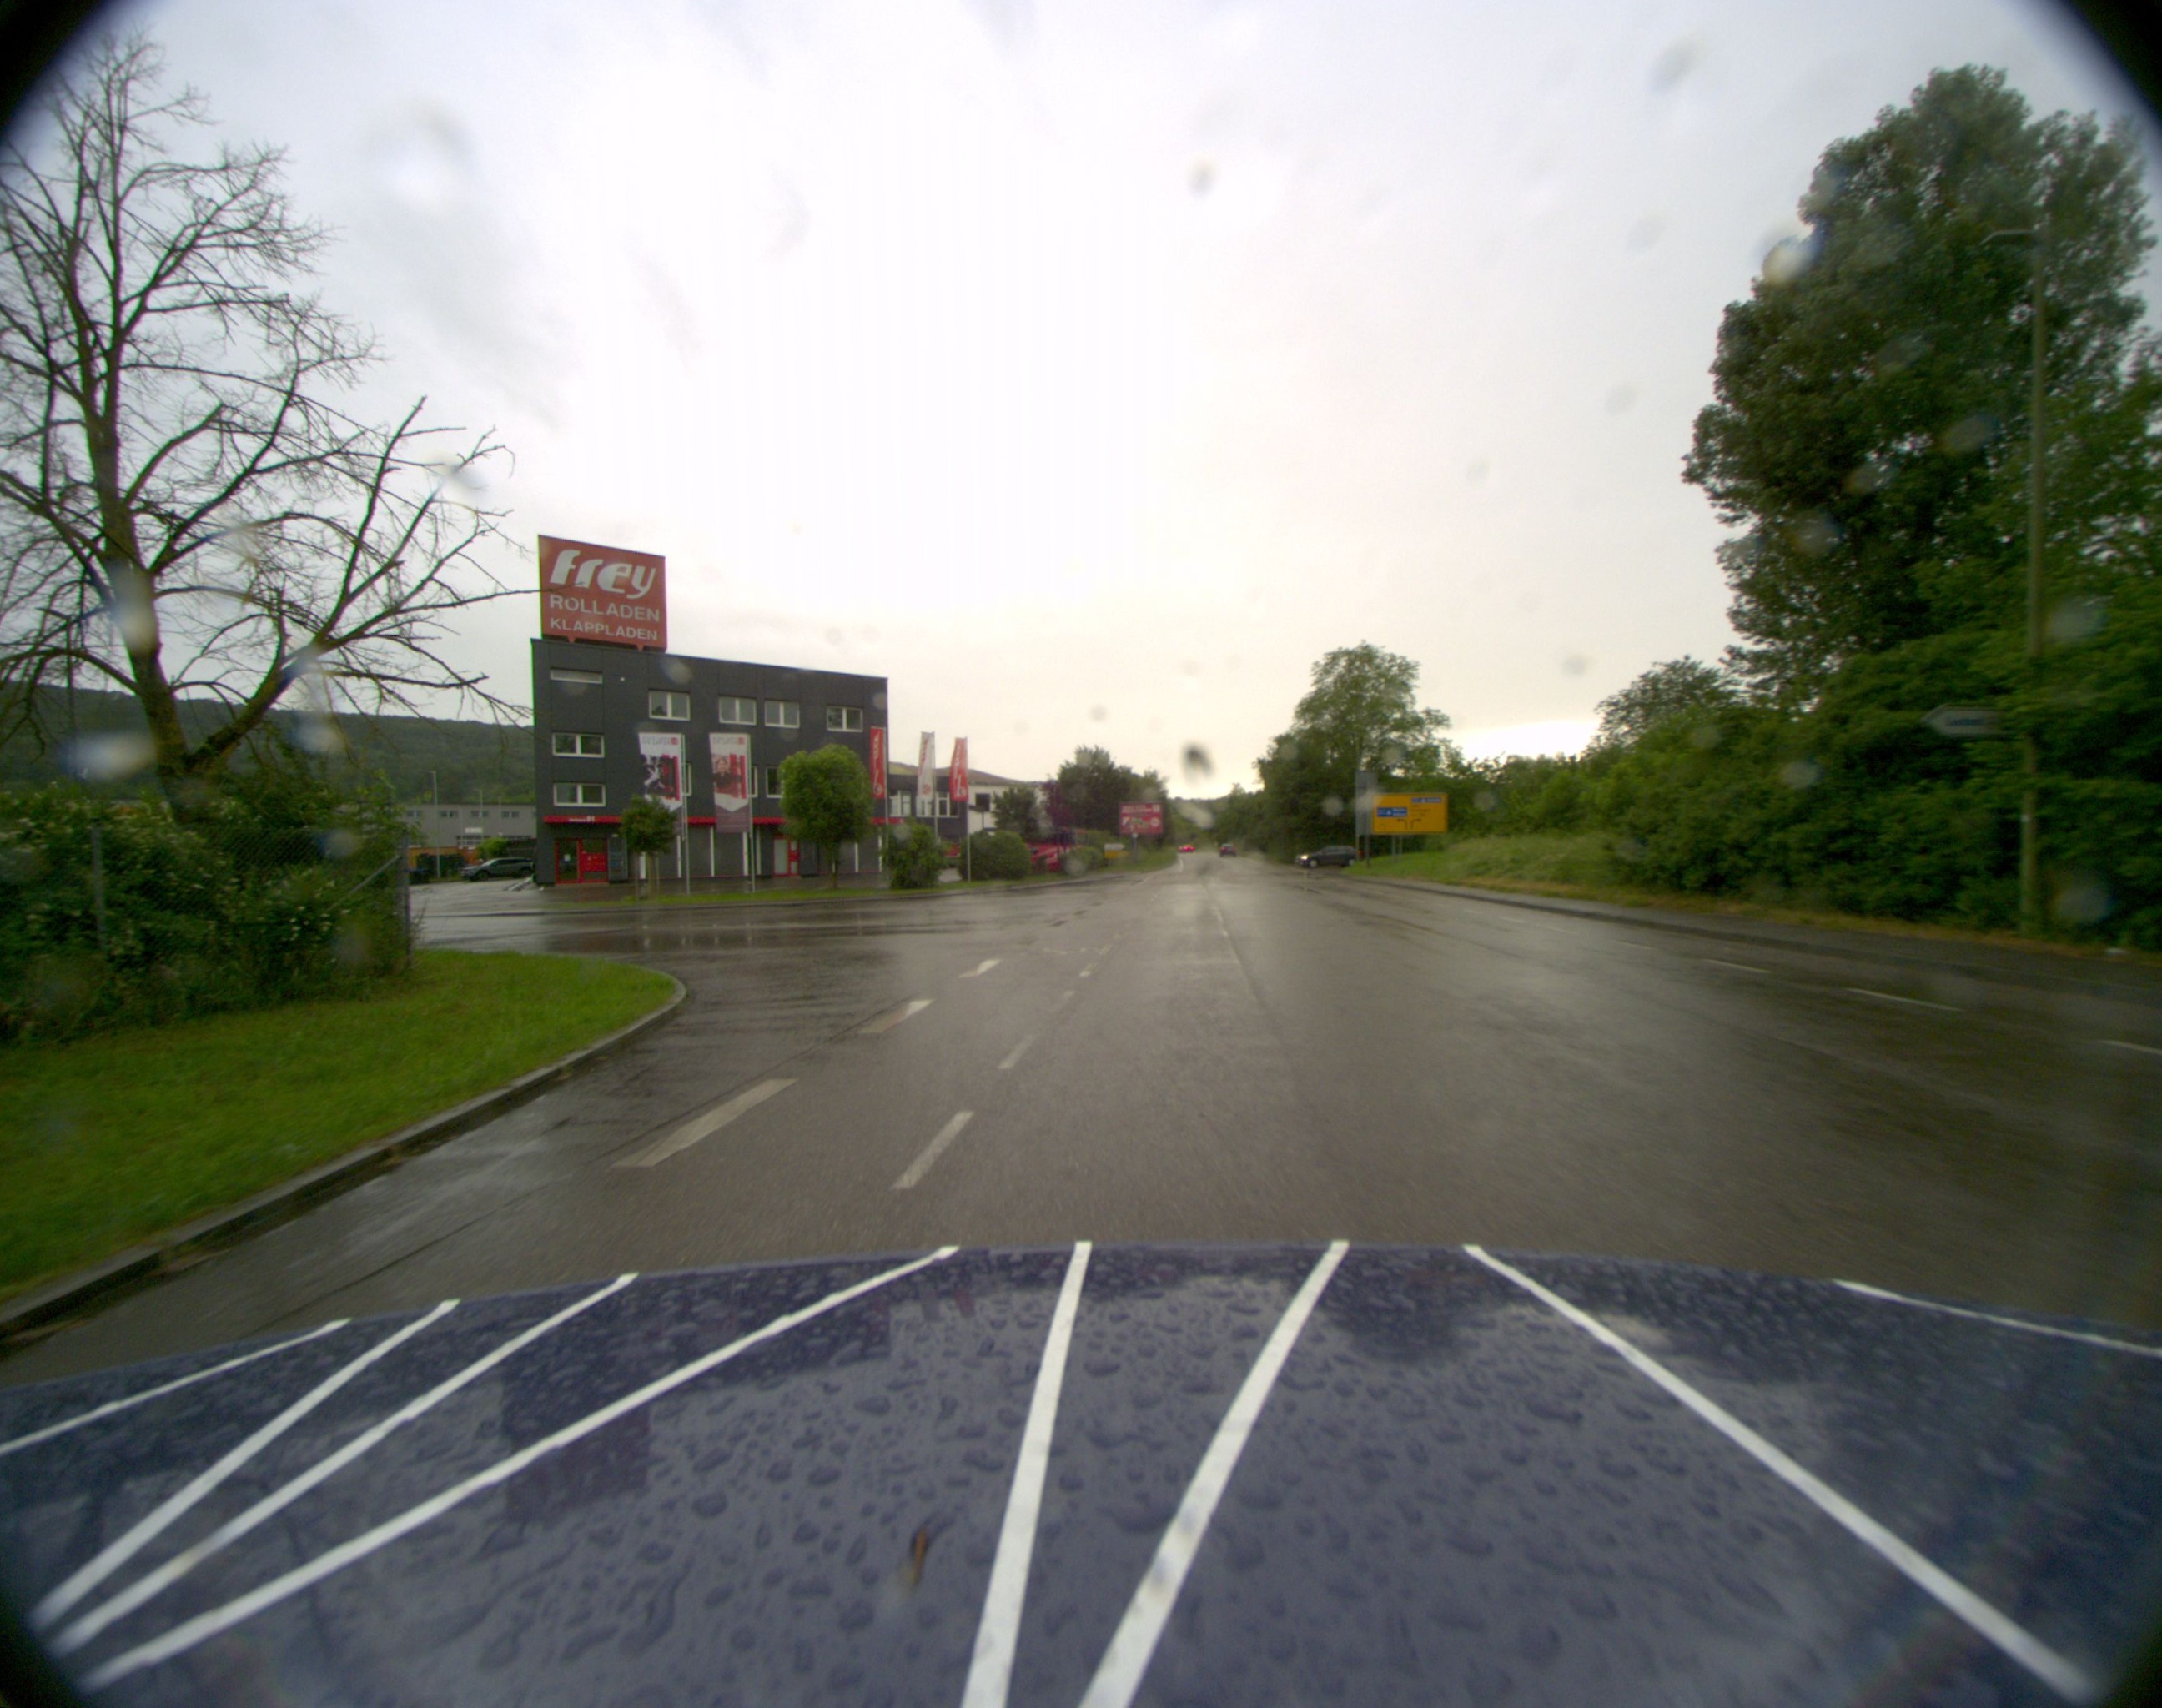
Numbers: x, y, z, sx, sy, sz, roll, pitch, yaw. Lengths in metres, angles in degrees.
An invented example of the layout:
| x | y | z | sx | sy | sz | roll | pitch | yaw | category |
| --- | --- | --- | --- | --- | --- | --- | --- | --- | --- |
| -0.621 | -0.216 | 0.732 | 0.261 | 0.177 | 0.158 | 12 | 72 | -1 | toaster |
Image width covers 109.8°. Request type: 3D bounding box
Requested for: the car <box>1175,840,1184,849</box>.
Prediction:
| x | y | z | sx | sy | sz | roll | pitch | yaw | category |
| --- | --- | --- | --- | --- | --- | --- | --- | --- | --- |
| 22.244 | -2.198 | 171.579 | 1.808 | 2.002 | 4.000 | -1 | 2 | 5 | car |

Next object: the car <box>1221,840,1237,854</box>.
| x | y | z | sx | sy | sz | roll | pitch | yaw | category |
| --- | --- | --- | --- | --- | --- | --- | --- | --- | --- |
| 17.207 | -0.795 | 88.444 | 1.832 | 1.515 | 4.003 | -1 | 1 | 10 | car |

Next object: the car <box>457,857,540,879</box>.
| x | y | z | sx | sy | sz | roll | pitch | yaw | category |
| --- | --- | --- | --- | --- | --- | --- | --- | --- | --- |
| -41.224 | 0.981 | 53.818 | 1.994 | 1.379 | 4.205 | -1 | 1 | 36 | car |

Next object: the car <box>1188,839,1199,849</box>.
| x | y | z | sx | sy | sz | roll | pitch | yaw | category |
| --- | --- | --- | --- | --- | --- | --- | --- | --- | --- |
| 23.026 | -2.041 | 155.329 | 1.998 | 2.002 | 4.000 | -1 | 2 | 5 | car |

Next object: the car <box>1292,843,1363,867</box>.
| x | y | z | sx | sy | sz | roll | pitch | yaw | category |
| --- | --- | --- | --- | --- | --- | --- | --- | --- | --- |
| 16.420 | 0.062 | 50.734 | 4.117 | 1.481 | 1.857 | -1 | 1 | 2 | car |
